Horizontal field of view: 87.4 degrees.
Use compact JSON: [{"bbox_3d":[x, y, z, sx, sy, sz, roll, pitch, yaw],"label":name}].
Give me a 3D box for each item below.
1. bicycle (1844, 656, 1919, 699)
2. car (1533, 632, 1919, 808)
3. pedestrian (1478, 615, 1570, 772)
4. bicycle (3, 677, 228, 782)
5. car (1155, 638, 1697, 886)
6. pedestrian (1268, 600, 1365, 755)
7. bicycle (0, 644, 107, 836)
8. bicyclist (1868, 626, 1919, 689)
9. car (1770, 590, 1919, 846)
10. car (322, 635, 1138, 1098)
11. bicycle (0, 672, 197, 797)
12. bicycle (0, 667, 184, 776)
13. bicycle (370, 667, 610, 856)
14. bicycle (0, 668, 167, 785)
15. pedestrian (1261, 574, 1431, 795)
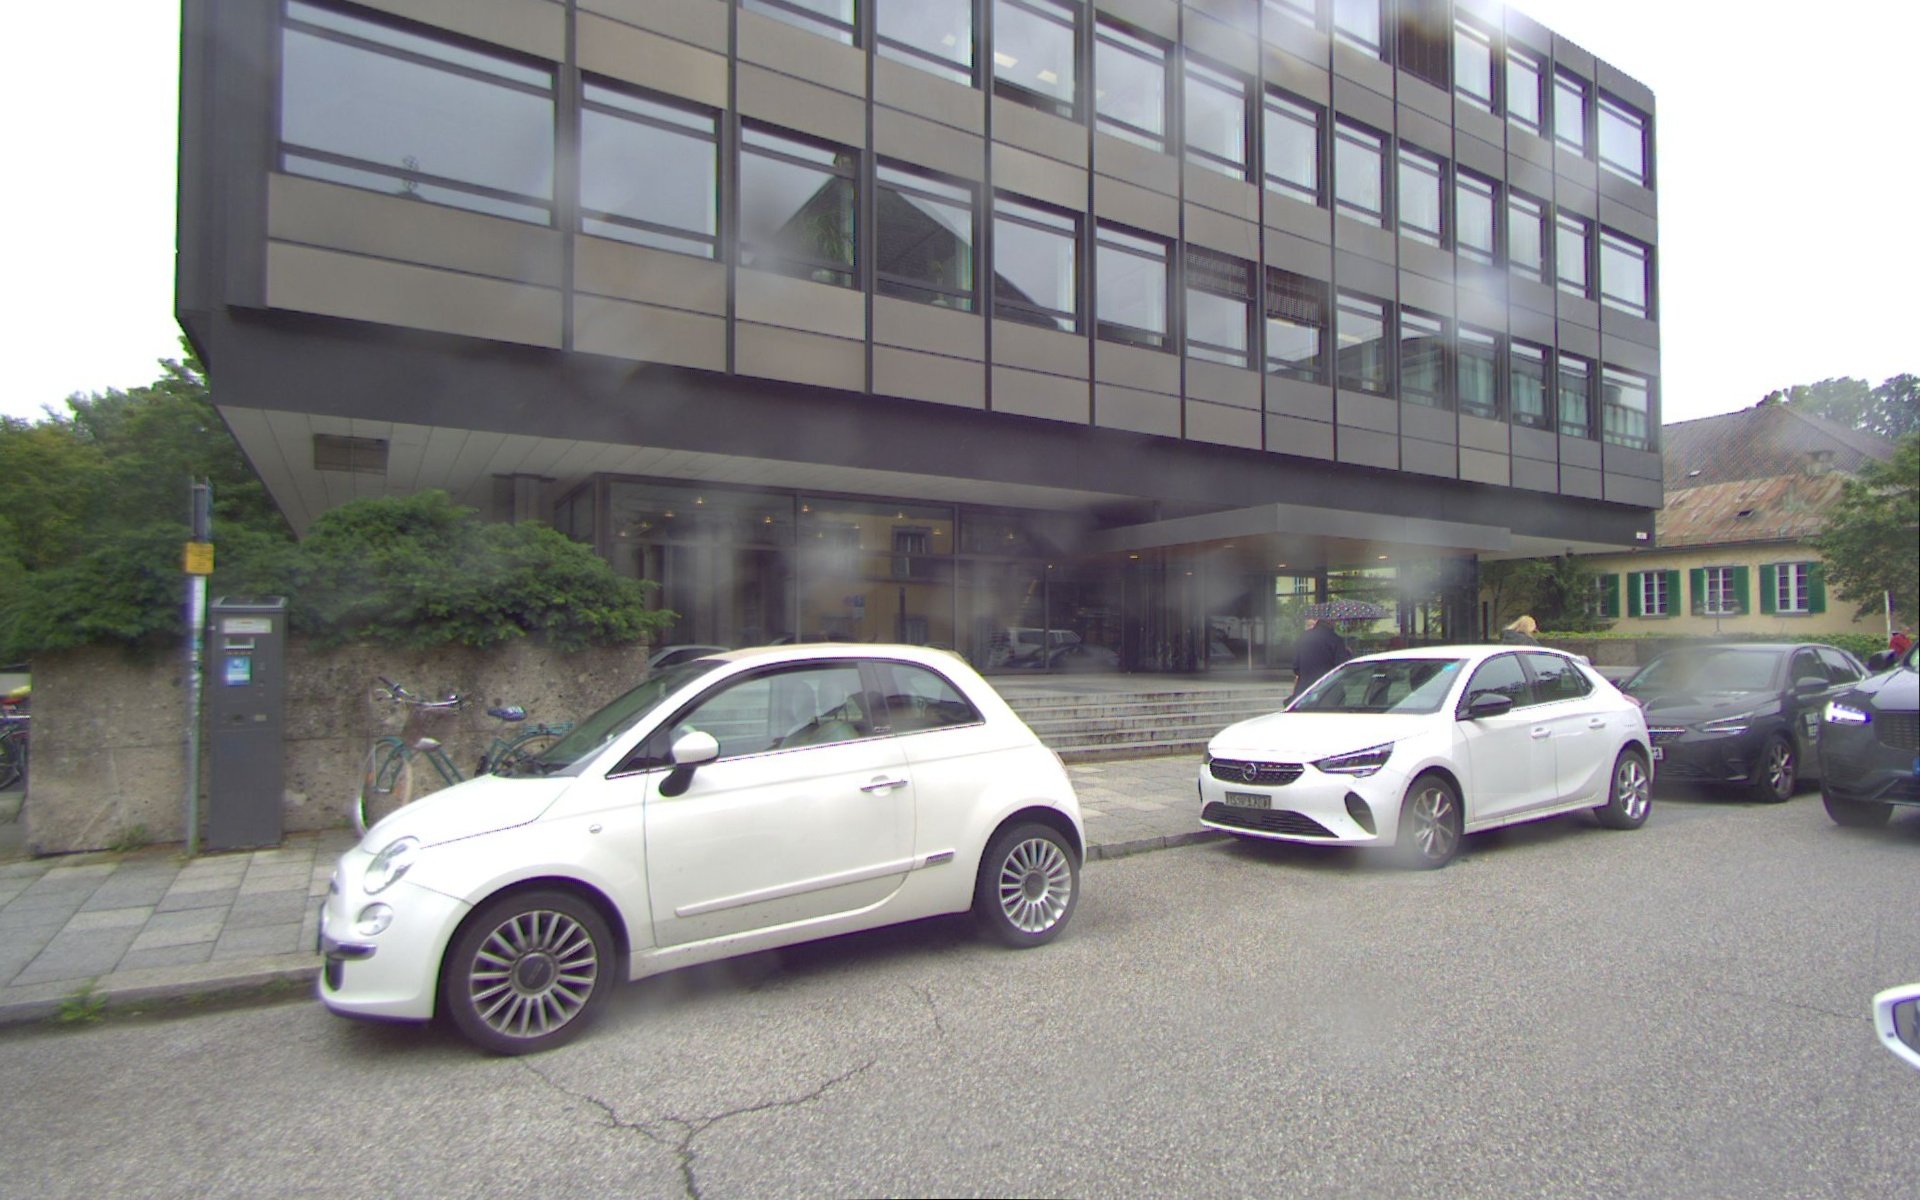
[{"bbox_3d":[23.027,1.889,24.499,0.618,1.017,2.117,3,-4,-37],"label":"bicycle"},{"bbox_3d":[7.980,1.113,10.315,4.186,1.480,1.733,1,-5,-30],"label":"car"},{"bbox_3d":[6.746,1.084,12.005,0.745,1.772,0.947,-2,-2,43],"label":"pedestrian"},{"bbox_3d":[-11.133,1.676,13.360,2.156,1.232,0.746,1,-3,-30],"label":"bicycle"},{"bbox_3d":[3.695,1.069,7.780,4.230,1.458,1.674,1,-5,-31],"label":"car"},{"bbox_3d":[4.305,0.911,12.122,0.884,1.775,0.683,2,-1,-36],"label":"pedestrian"},{"bbox_3d":[-7.427,1.045,8.132,0.685,1.291,2.157,1,0,-38],"label":"bicycle"},{"bbox_3d":[22.983,1.402,24.540,0.668,1.517,1.082,3,-4,-39],"label":"bicyclist"},{"bbox_3d":[8.577,0.814,7.807,4.856,1.703,1.951,1,-5,-31],"label":"car"},{"bbox_3d":[-0.989,0.949,4.886,3.513,1.489,1.536,1,-4,-32],"label":"car"},{"bbox_3d":[-9.639,1.423,10.823,2.156,1.232,0.746,1,-3,-30],"label":"bicycle"},{"bbox_3d":[-10.919,1.459,12.272,2.156,1.232,0.746,1,-3,-30],"label":"bicycle"},{"bbox_3d":[-3.417,1.117,7.341,1.511,1.180,0.639,1,0,-33],"label":"bicycle"},{"bbox_3d":[-10.436,1.414,11.387,2.156,1.232,0.746,1,-3,-30],"label":"bicycle"},{"bbox_3d":[3.927,0.815,10.264,1.208,2.082,1.129,1,-1,-32],"label":"pedestrian"}]
